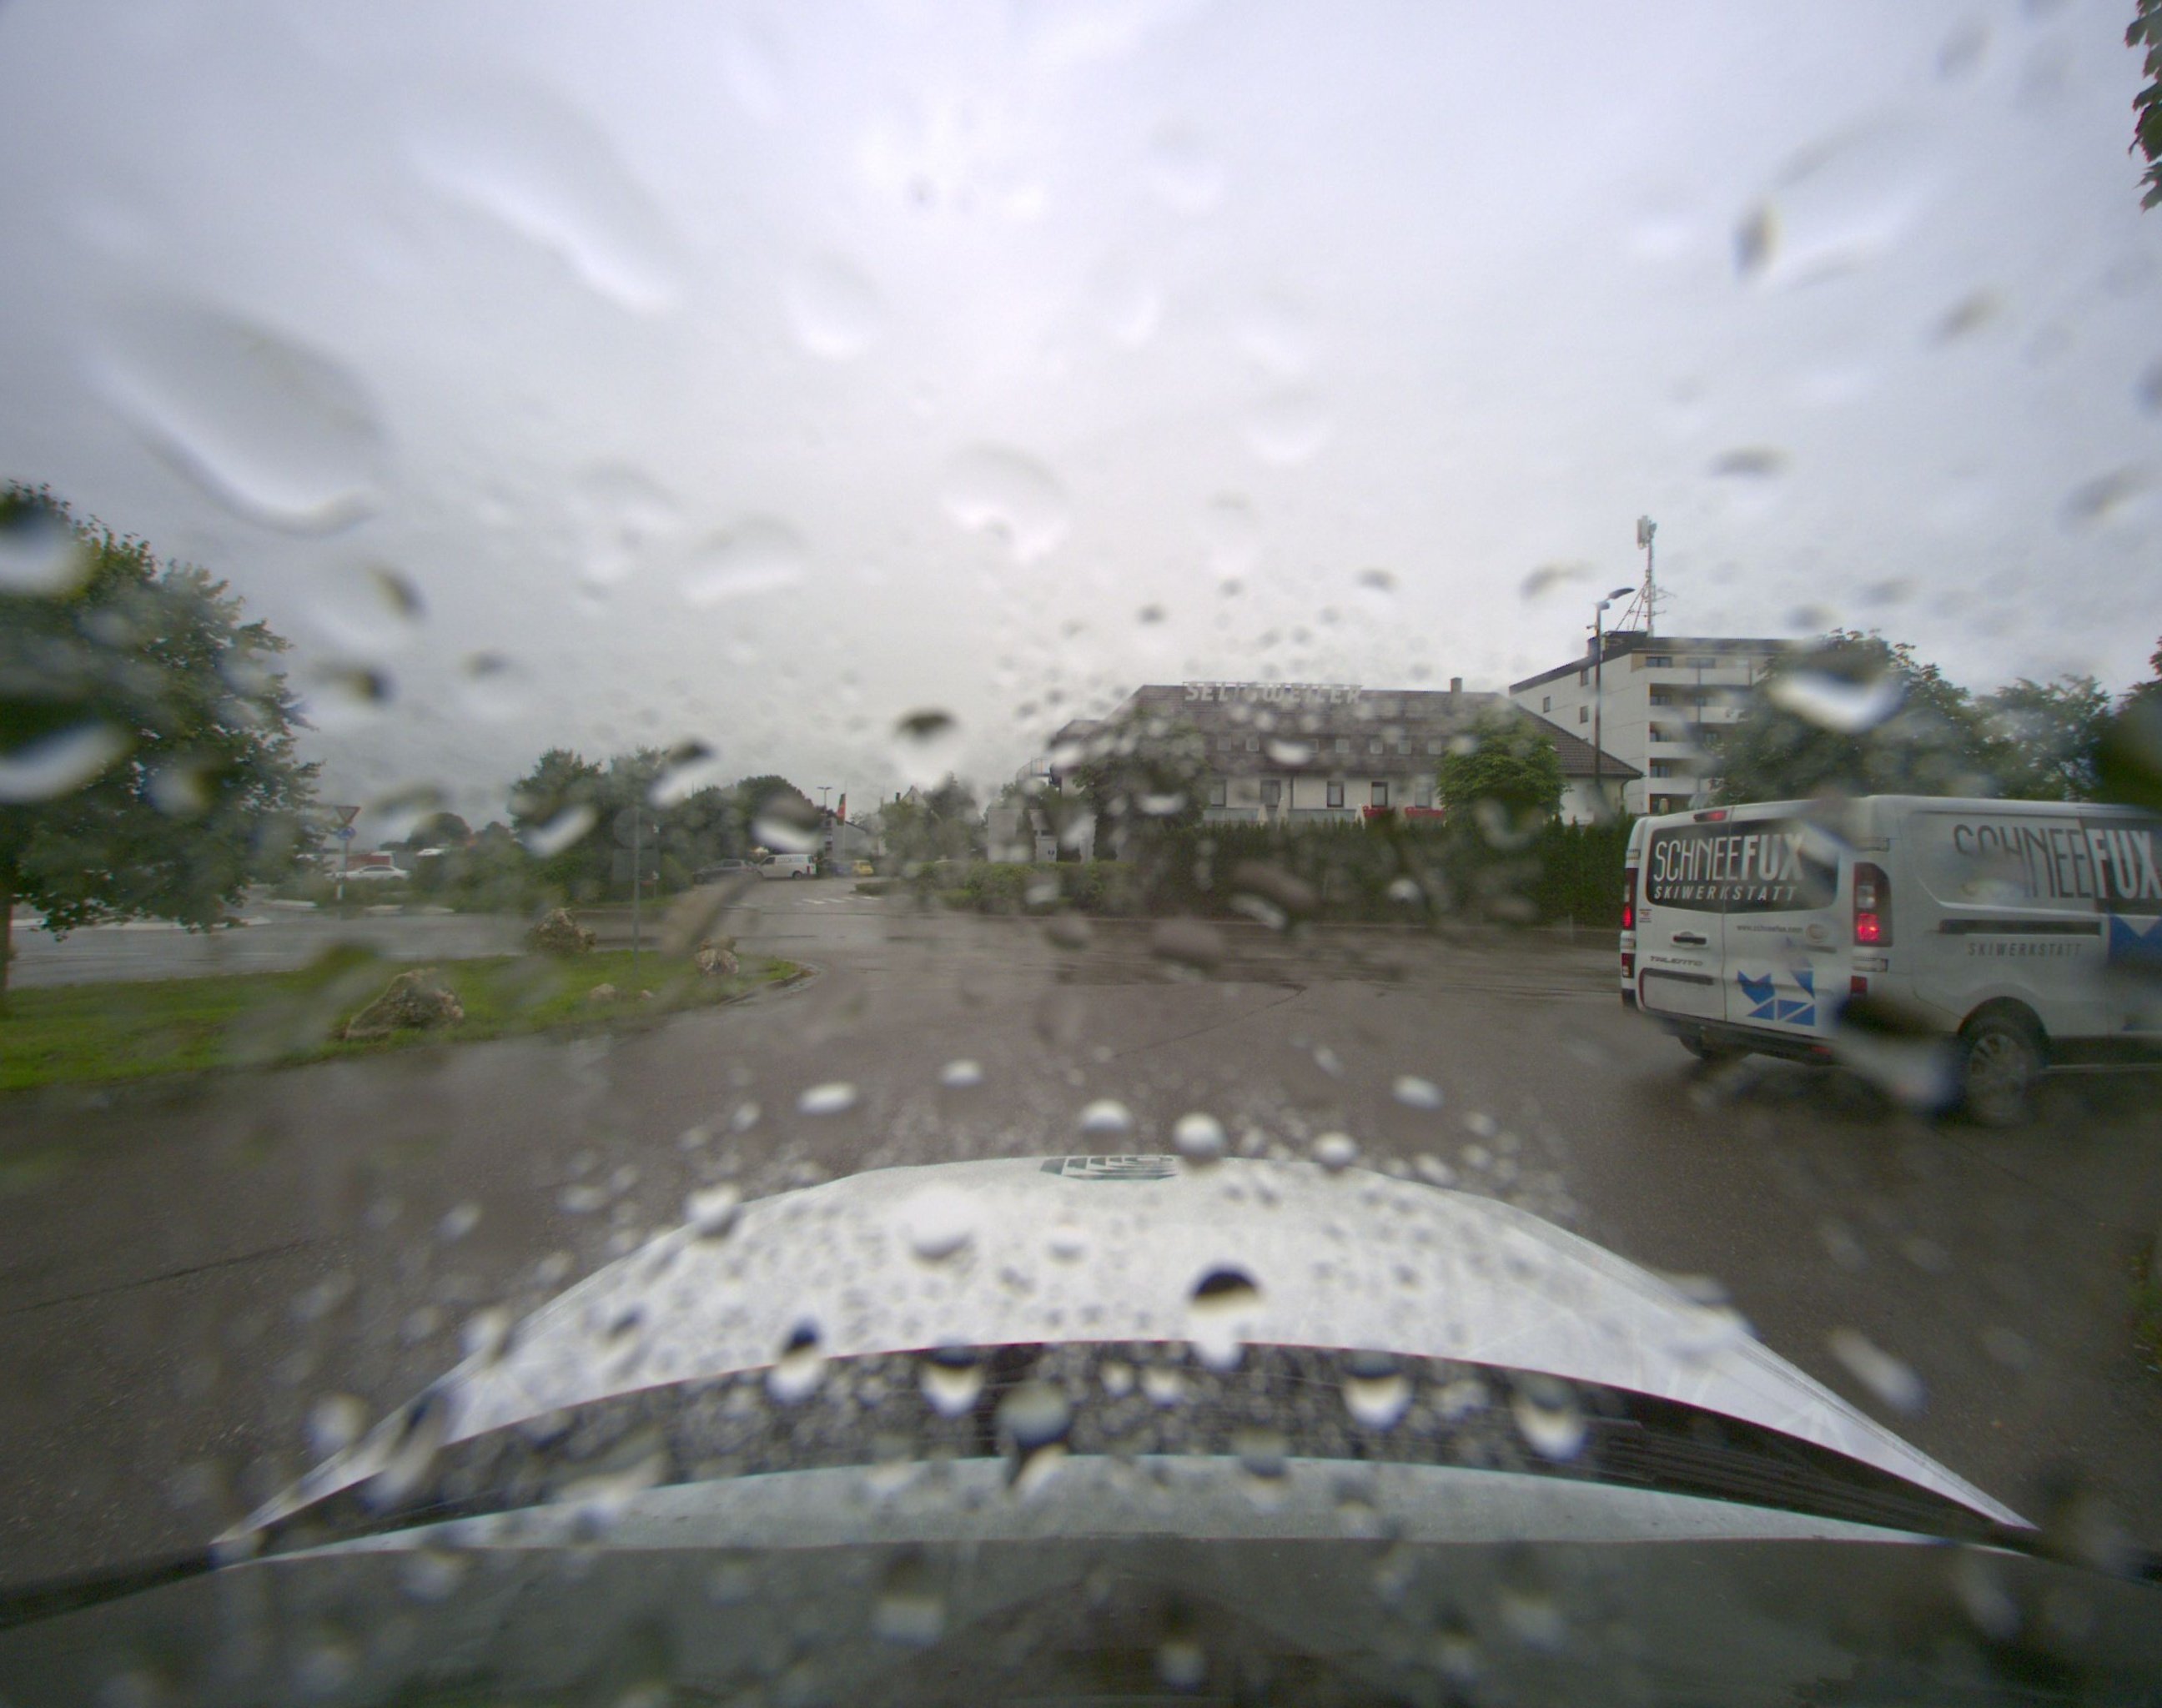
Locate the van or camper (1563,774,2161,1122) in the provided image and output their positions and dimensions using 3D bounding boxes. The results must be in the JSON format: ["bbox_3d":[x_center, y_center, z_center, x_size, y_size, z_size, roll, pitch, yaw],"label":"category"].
[{"bbox_3d":[6.724,0.594,6.138,5.182,1.945,2.186,1,-2,-11],"label":"van or camper"}]

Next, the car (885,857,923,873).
[{"bbox_3d":[-16.345,0.992,75.180,3.633,1.458,1.595,-1,0,42],"label":"car"}]

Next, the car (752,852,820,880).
[{"bbox_3d":[-22.426,0.921,61.968,4.509,2.033,1.643,-1,0,-3],"label":"car"}]

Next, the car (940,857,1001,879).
[{"bbox_3d":[-7.884,0.975,58.323,4.166,1.497,1.716,-1,0,-3],"label":"car"}]

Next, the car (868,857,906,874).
[{"bbox_3d":[-17.570,1.011,73.731,3.633,1.458,1.595,-1,0,42],"label":"car"}]

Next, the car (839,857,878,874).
[{"bbox_3d":[-19.685,1.044,71.978,3.633,1.458,1.595,-1,0,42],"label":"car"}]

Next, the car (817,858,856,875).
[{"bbox_3d":[-20.863,1.059,69.417,3.633,1.458,1.565,-1,0,42],"label":"car"}]

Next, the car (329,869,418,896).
[{"bbox_3d":[-49.377,1.978,56.943,1.726,1.758,4.394,-1,-1,33],"label":"car"}]

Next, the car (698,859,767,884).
[{"bbox_3d":[-22.195,1.103,51.986,3.723,1.551,1.449,-1,0,-3],"label":"car"}]
